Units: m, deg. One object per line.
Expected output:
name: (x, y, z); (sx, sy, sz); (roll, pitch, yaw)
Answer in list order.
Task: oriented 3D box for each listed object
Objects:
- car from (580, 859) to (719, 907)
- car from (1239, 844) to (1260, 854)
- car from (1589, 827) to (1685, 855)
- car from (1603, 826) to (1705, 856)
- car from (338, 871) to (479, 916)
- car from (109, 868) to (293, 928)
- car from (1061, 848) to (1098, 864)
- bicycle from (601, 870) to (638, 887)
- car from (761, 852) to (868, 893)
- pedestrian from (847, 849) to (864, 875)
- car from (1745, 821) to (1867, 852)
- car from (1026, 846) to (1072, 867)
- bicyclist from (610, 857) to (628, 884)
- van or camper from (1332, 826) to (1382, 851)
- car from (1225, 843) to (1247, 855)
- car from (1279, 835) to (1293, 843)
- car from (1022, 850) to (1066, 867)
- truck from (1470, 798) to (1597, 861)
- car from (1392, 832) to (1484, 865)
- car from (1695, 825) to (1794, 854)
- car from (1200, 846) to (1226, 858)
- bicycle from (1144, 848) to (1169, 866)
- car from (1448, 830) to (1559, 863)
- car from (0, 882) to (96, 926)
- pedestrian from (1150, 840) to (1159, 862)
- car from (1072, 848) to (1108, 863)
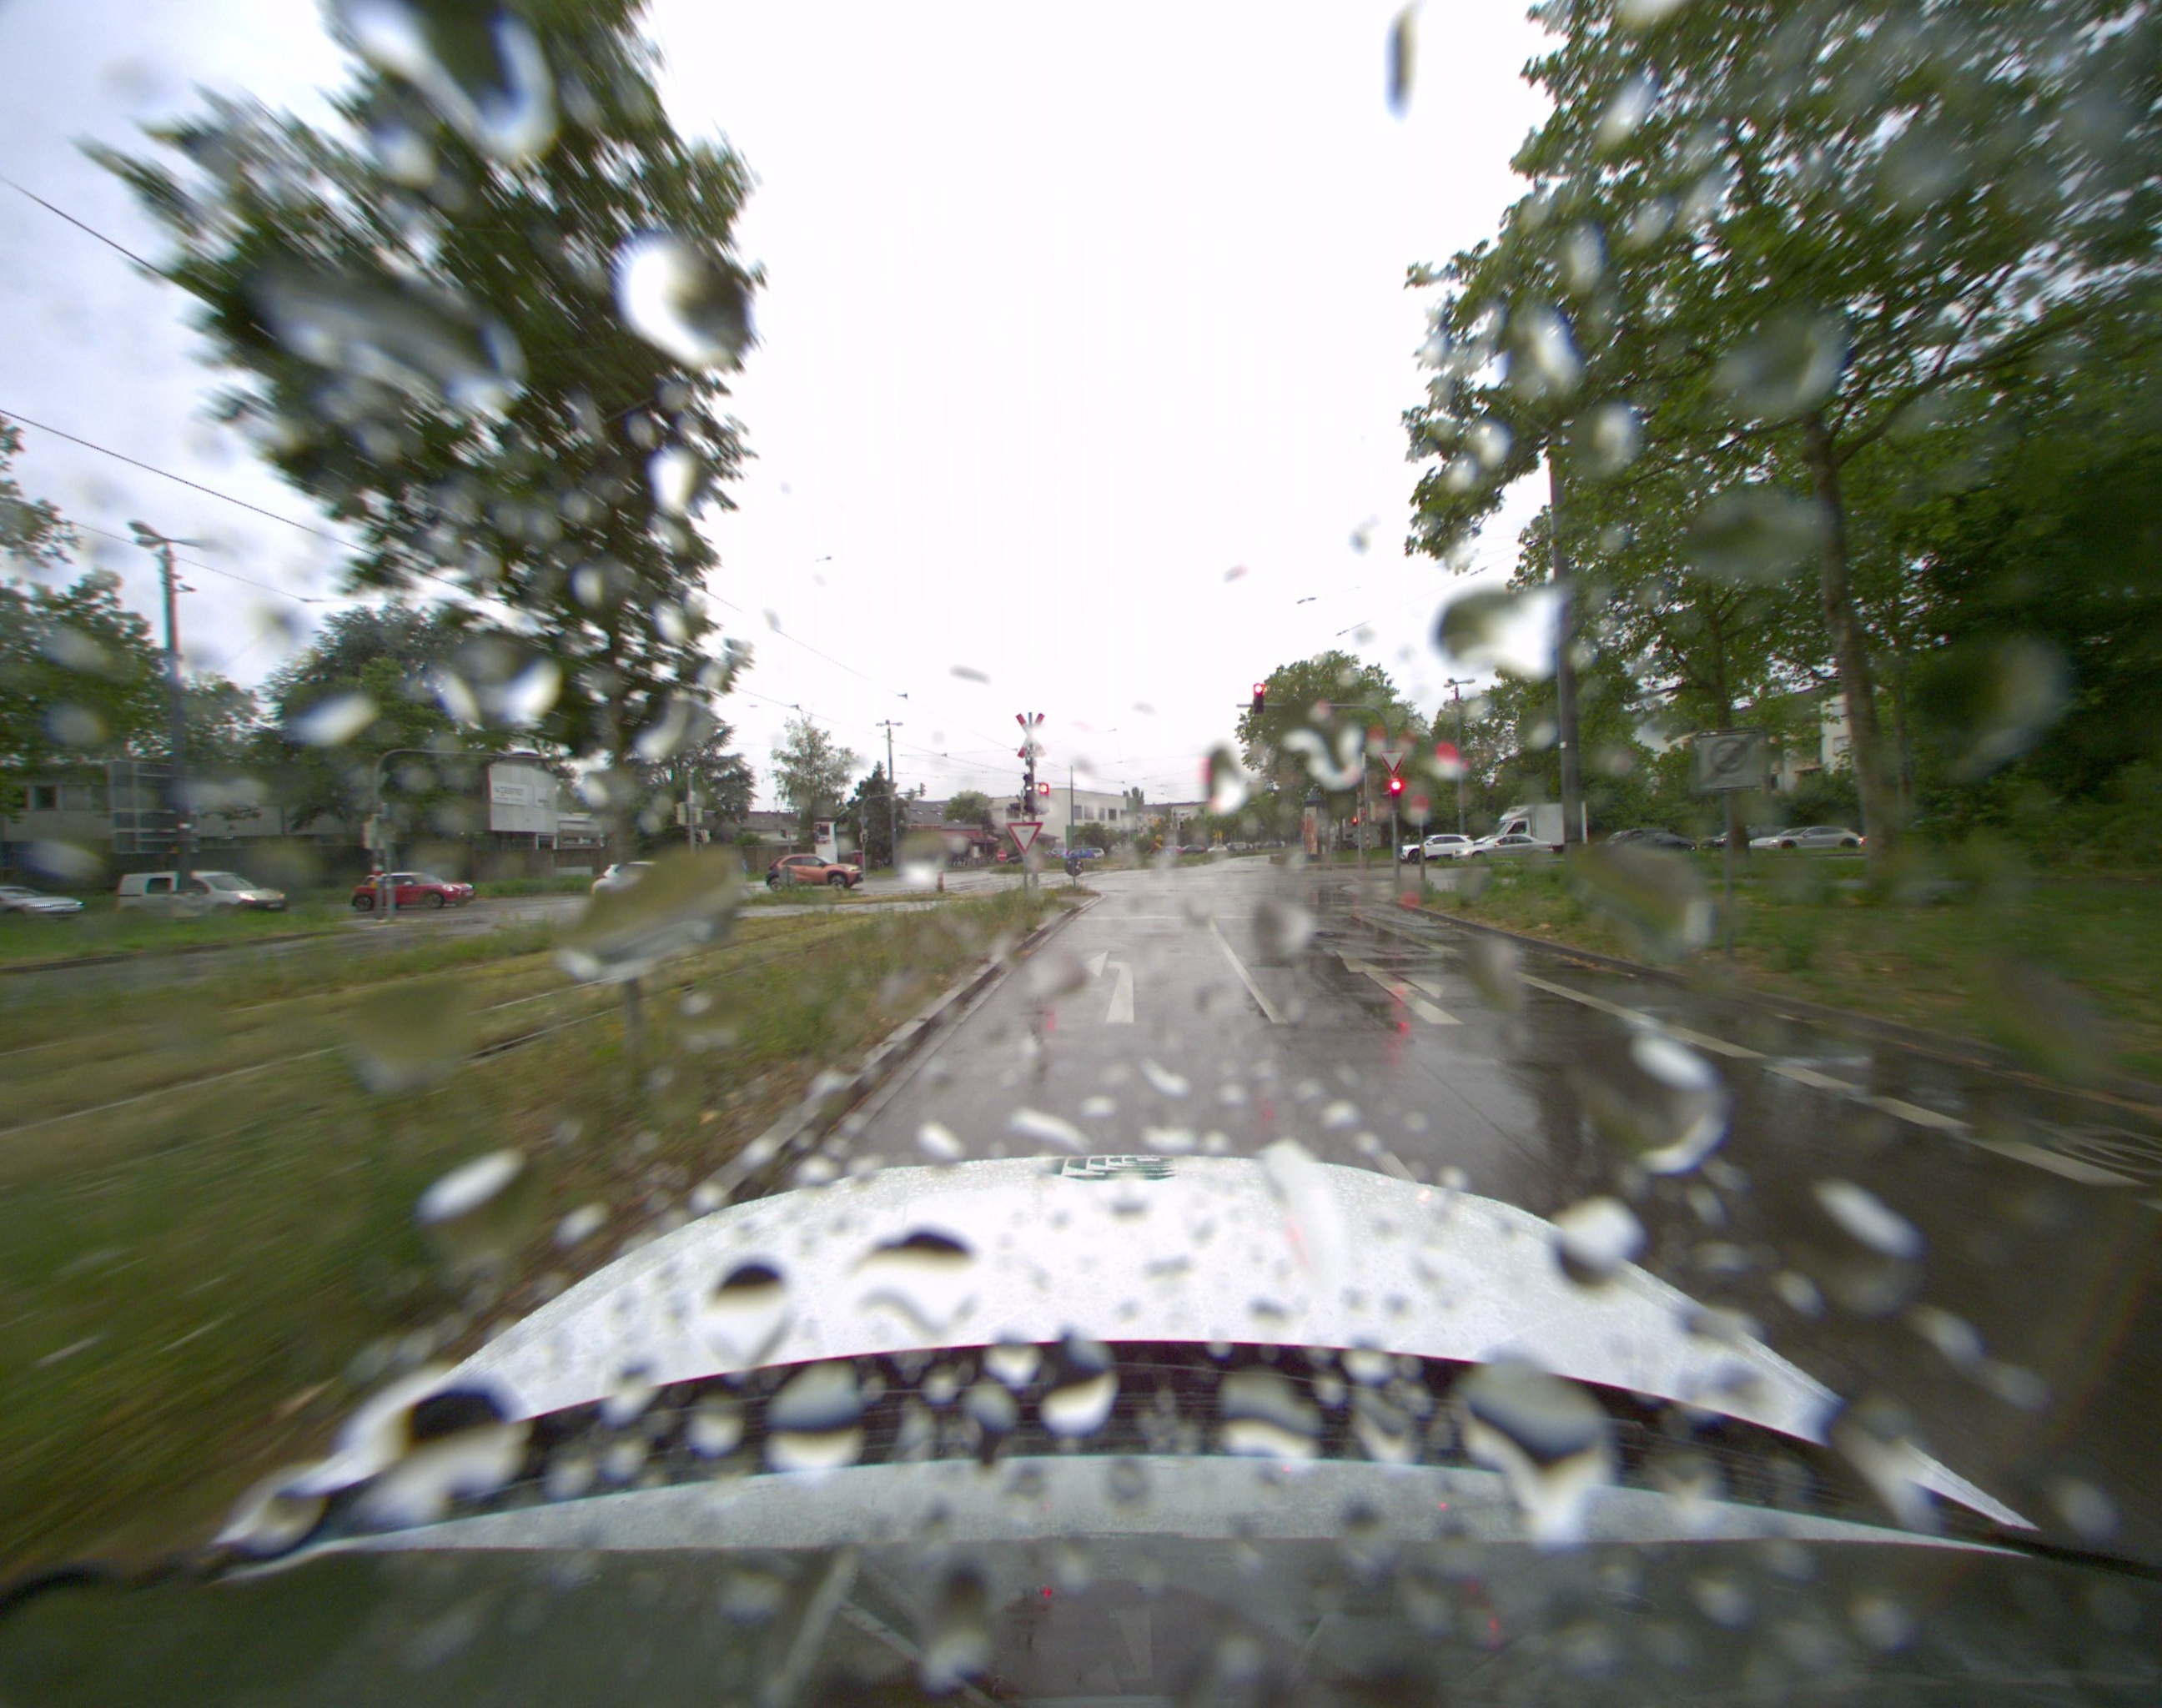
car: (-15.635, 1.018, 29.668); (4.058, 1.499, 1.649); (-3, 0, -5)
car: (34.147, -1.007, 165.316); (4.108, 1.860, 1.678); (-3, 0, 10)
car: (31.347, -0.716, 45.981); (4.183, 1.422, 1.767); (-2, 0, 3)
car: (29.495, -0.641, 42.009); (4.096, 1.390, 1.645); (-2, 0, 0)
car: (-26.352, 1.514, 32.039); (3.909, 1.498, 1.646); (-2, 1, -11)
car: (-30.268, 1.484, 28.121); (4.203, 1.796, 1.649); (-2, 1, -6)
car: (-0.204, 0.210, 83.704); (3.741, 1.442, 1.761); (-2, 0, -2)
bicycle: (-29.334, 1.530, 51.802); (1.952, 0.966, 0.642); (-3, 0, 0)
car: (-10.962, 0.739, 33.691); (3.811, 1.499, 1.649); (-2, 0, -5)
pedestrian: (-15.850, 0.587, 57.197); (0.807, 1.763, 0.898); (-2, 0, -40)
car: (37.109, -0.865, 41.740); (4.645, 1.422, 1.766); (-2, 0, 0)
car: (-3.095, 0.222, 78.933); (4.108, 1.860, 1.678); (-3, 0, 10)
bicyclist: (-29.371, 1.025, 51.800); (0.682, 1.683, 0.642); (-2, 0, 0)
van or camper: (30.863, -1.718, 91.148); (5.175, 2.697, 2.255); (0, 1, 22)
car: (29.806, -0.968, 156.355); (4.108, 1.975, 1.678); (-3, 0, 10)
car: (55.824, -4.002, 222.209); (3.414, 2.013, 1.817); (-3, 0, 21)
car: (-3.417, 0.386, 75.485); (3.730, 1.442, 1.766); (-2, 0, 7)
truck: (23.418, -1.238, 42.298); (5.449, 3.058, 1.981); (-2, 0, 0)
car: (20.191, -0.328, 46.145); (4.448, 1.656, 1.651); (-3, 0, -2)
car: (37.375, -0.799, 45.934); (4.105, 1.422, 1.767); (-2, 0, 2)
car: (22.556, -0.281, 138.926); (4.122, 1.860, 1.673); (-3, 0, -1)
bicycle: (5.017, 0.201, 54.143); (1.555, 1.101, 0.500); (-2, 0, 2)
car: (20.250, -0.354, 39.135); (4.497, 1.390, 1.645); (-2, 0, 0)
car: (-39.920, 1.908, 30.151); (4.353, 1.455, 1.648); (-2, 0, -8)
pedestrian: (4.884, -0.192, 54.151); (0.573, 1.475, 0.500); (-2, 0, 3)
car: (0.916, 0.152, 86.924); (3.741, 1.442, 1.761); (-2, 0, -2)
